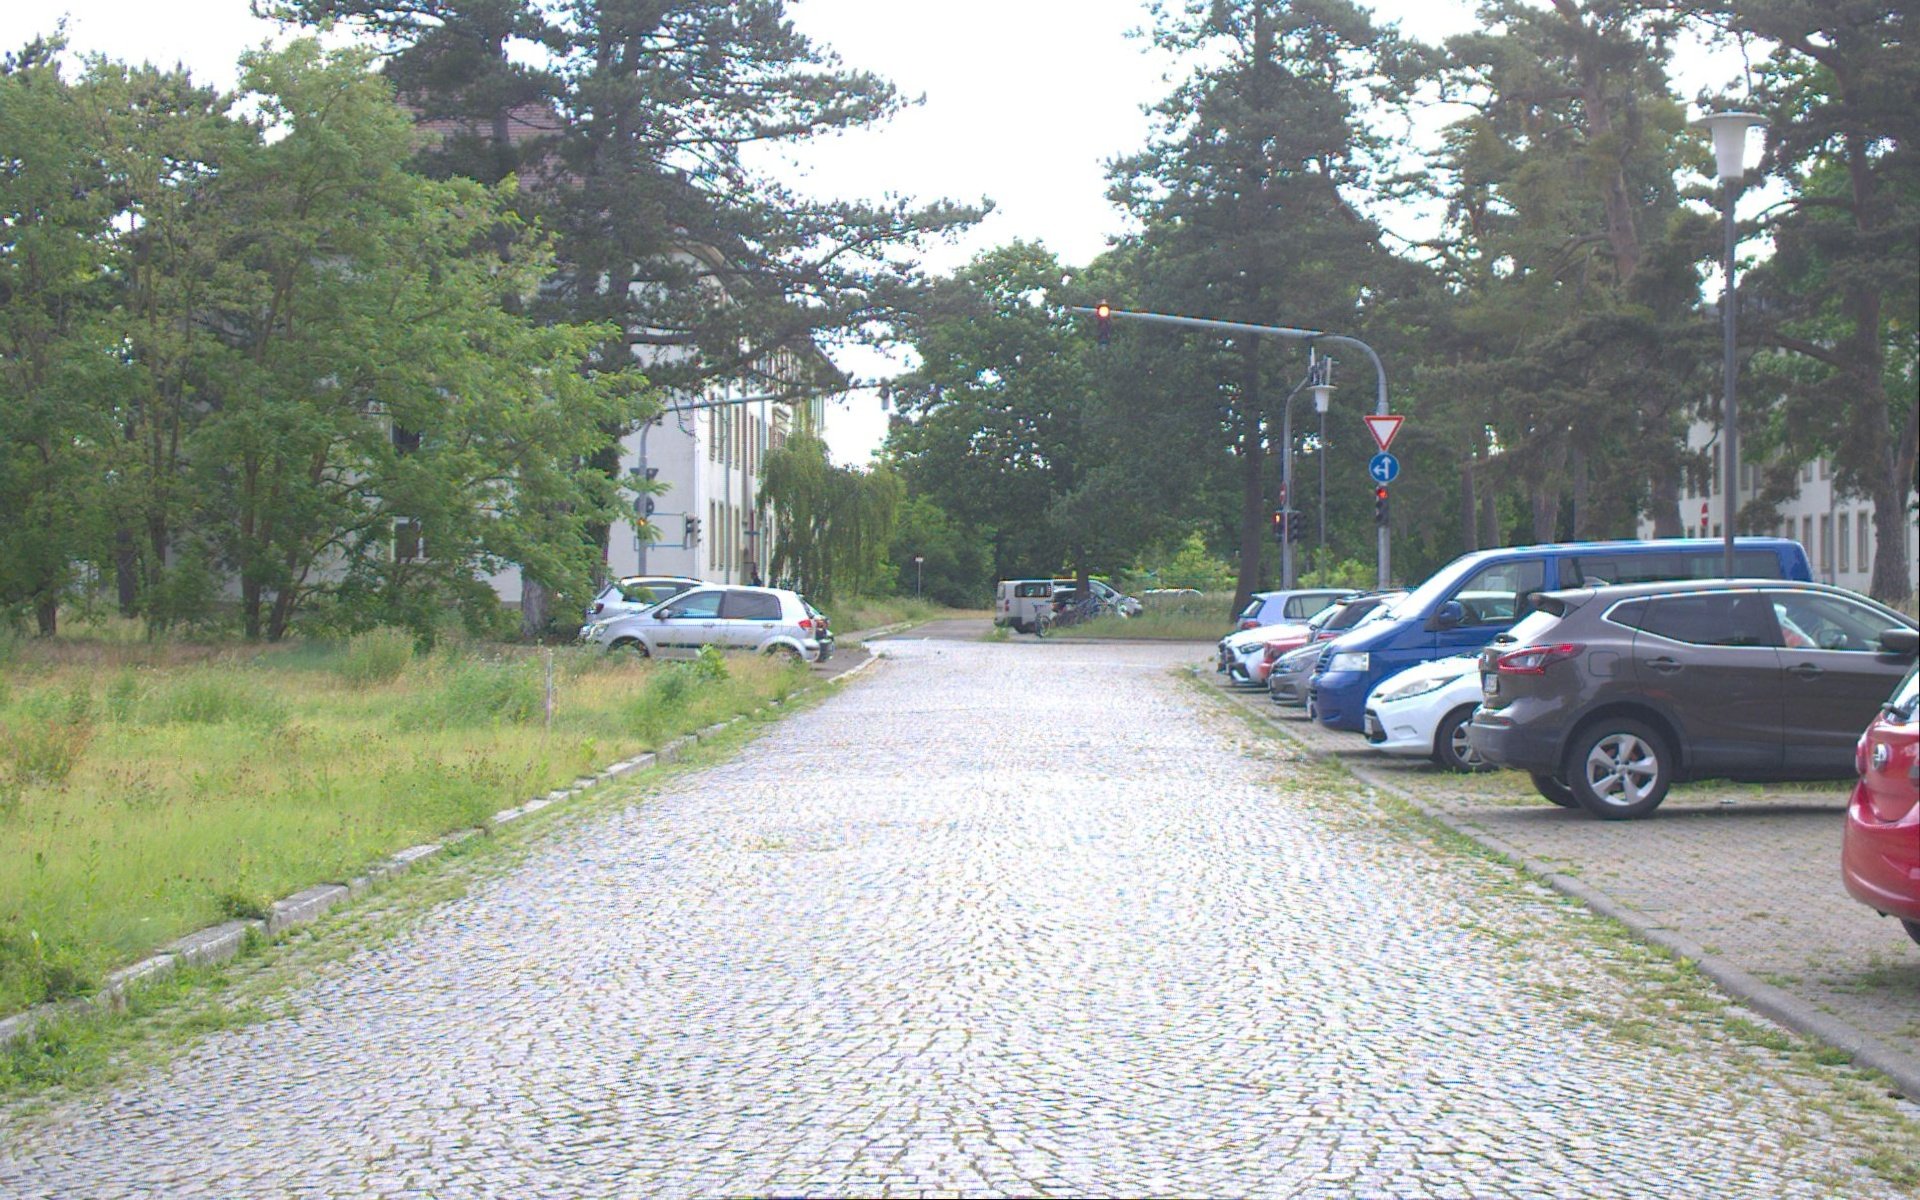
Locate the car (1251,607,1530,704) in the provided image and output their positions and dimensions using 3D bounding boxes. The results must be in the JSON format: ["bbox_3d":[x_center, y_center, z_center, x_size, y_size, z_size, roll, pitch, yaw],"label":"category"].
[{"bbox_3d":[5.748,0.734,46.177,3.587,1.218,1.628,-1,0,3],"label":"car"}]

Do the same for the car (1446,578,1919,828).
[{"bbox_3d":[5.596,0.662,23.565,4.203,1.589,1.953,-1,0,-1],"label":"car"}]

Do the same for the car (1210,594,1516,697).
[{"bbox_3d":[5.935,0.658,50.878,4.184,1.432,1.755,-1,0,-6],"label":"car"}]

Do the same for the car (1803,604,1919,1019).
[{"bbox_3d":[5.443,0.746,13.260,3.923,1.491,1.785,-1,0,0],"label":"car"}]

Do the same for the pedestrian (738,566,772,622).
[{"bbox_3d":[-7.222,-0.211,121.217,1.074,1.952,1.121,1,0,2],"label":"pedestrian"}]

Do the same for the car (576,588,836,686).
[{"bbox_3d":[-4.289,0.614,58.155,4.297,1.548,1.812,-1,0,-4],"label":"car"}]

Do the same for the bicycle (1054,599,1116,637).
[{"bbox_3d":[3.938,0.565,108.391,1.881,1.167,0.665,1,0,-4],"label":"bicycle"}]

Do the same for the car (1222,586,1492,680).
[{"bbox_3d":[6.466,0.526,56.184,4.134,1.458,1.634,-1,0,-4],"label":"car"}]

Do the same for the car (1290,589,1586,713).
[{"bbox_3d":[6.018,0.633,43.542,3.505,1.482,1.743,-1,0,1],"label":"car"}]

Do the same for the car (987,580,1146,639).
[{"bbox_3d":[3.808,0.342,123.204,5.375,2.094,2.179,0,0,-11],"label":"car"}]

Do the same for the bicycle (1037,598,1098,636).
[{"bbox_3d":[3.503,0.557,111.902,1.881,1.167,0.665,1,0,-4],"label":"bicycle"}]

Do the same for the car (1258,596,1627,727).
[{"bbox_3d":[5.658,0.716,40.684,4.130,1.442,1.765,-1,0,2],"label":"car"}]

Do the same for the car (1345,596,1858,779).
[{"bbox_3d":[5.521,0.739,29.926,4.097,1.474,1.722,-1,0,-1],"label":"car"}]

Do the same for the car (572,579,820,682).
[{"bbox_3d":[-4.666,0.532,60.971,4.297,1.726,1.653,-1,0,-4],"label":"car"}]

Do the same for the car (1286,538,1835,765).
[{"bbox_3d":[5.595,0.466,32.469,4.795,1.997,1.966,-1,0,0],"label":"car"}]

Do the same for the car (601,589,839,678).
[{"bbox_3d":[-4.426,0.610,63.420,4.297,1.548,1.812,-1,0,-4],"label":"car"}]

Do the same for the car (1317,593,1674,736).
[{"bbox_3d":[5.836,0.693,37.773,3.653,1.474,1.765,-1,0,1],"label":"car"}]

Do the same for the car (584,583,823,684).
[{"bbox_3d":[-4.109,0.535,55.552,3.720,1.476,1.673,2,0,-1],"label":"car"}]

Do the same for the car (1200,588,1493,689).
[{"bbox_3d":[6.010,0.589,53.643,4.227,1.474,1.710,-1,0,-9],"label":"car"}]
